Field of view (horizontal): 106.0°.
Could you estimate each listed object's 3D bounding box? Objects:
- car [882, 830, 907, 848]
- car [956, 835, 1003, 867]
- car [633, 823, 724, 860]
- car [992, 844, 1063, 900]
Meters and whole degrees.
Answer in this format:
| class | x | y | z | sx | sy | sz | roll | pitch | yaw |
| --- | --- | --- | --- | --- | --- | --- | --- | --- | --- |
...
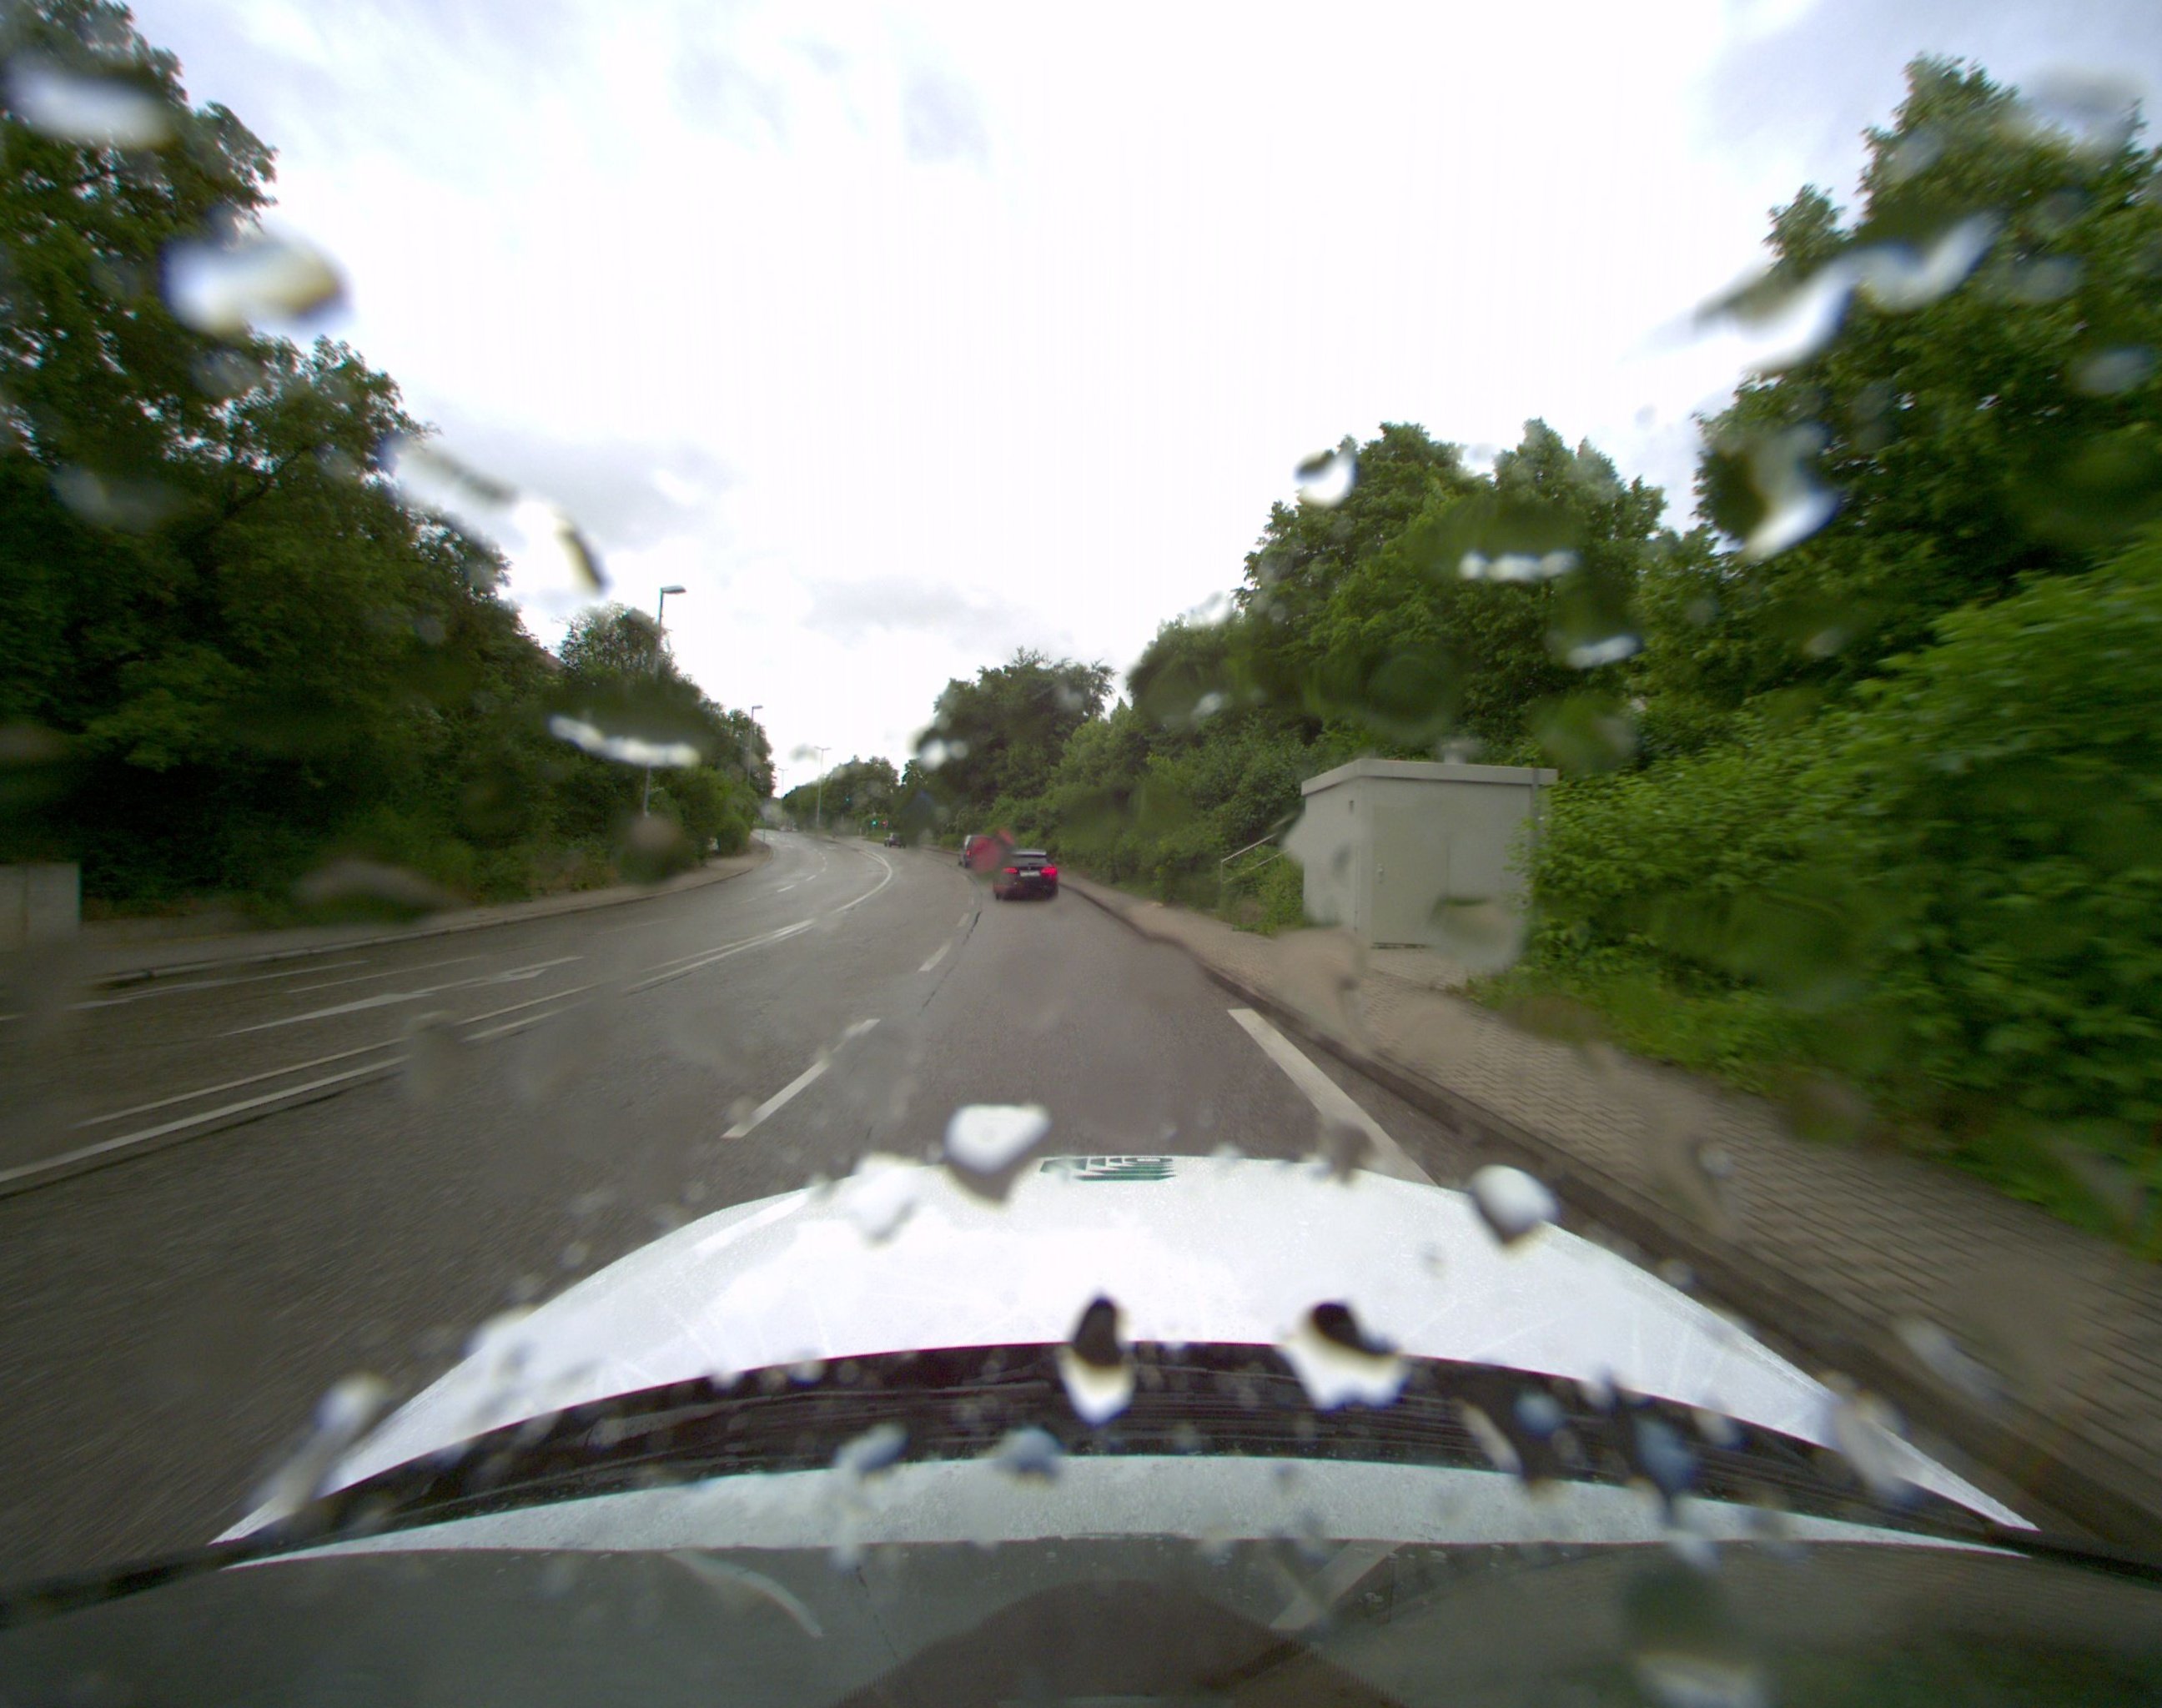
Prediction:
| class | x | y | z | sx | sy | sz | roll | pitch | yaw |
| --- | --- | --- | --- | --- | --- | --- | --- | --- | --- |
| car | -19.148 | -1.535 | 83.510 | 1.859 | 1.662 | 3.969 | 2 | -2 | -23 |
| car | -5.770 | -0.205 | 45.874 | 1.998 | 1.748 | 3.978 | 0 | 1 | -16 |
| car | -21.317 | -0.647 | 43.340 | 4.001 | 1.447 | 1.843 | 7 | -1 | -21 |
| car | -1.750 | 0.523 | 25.671 | 1.991 | 1.586 | 4.653 | 1 | 0 | -6 |
